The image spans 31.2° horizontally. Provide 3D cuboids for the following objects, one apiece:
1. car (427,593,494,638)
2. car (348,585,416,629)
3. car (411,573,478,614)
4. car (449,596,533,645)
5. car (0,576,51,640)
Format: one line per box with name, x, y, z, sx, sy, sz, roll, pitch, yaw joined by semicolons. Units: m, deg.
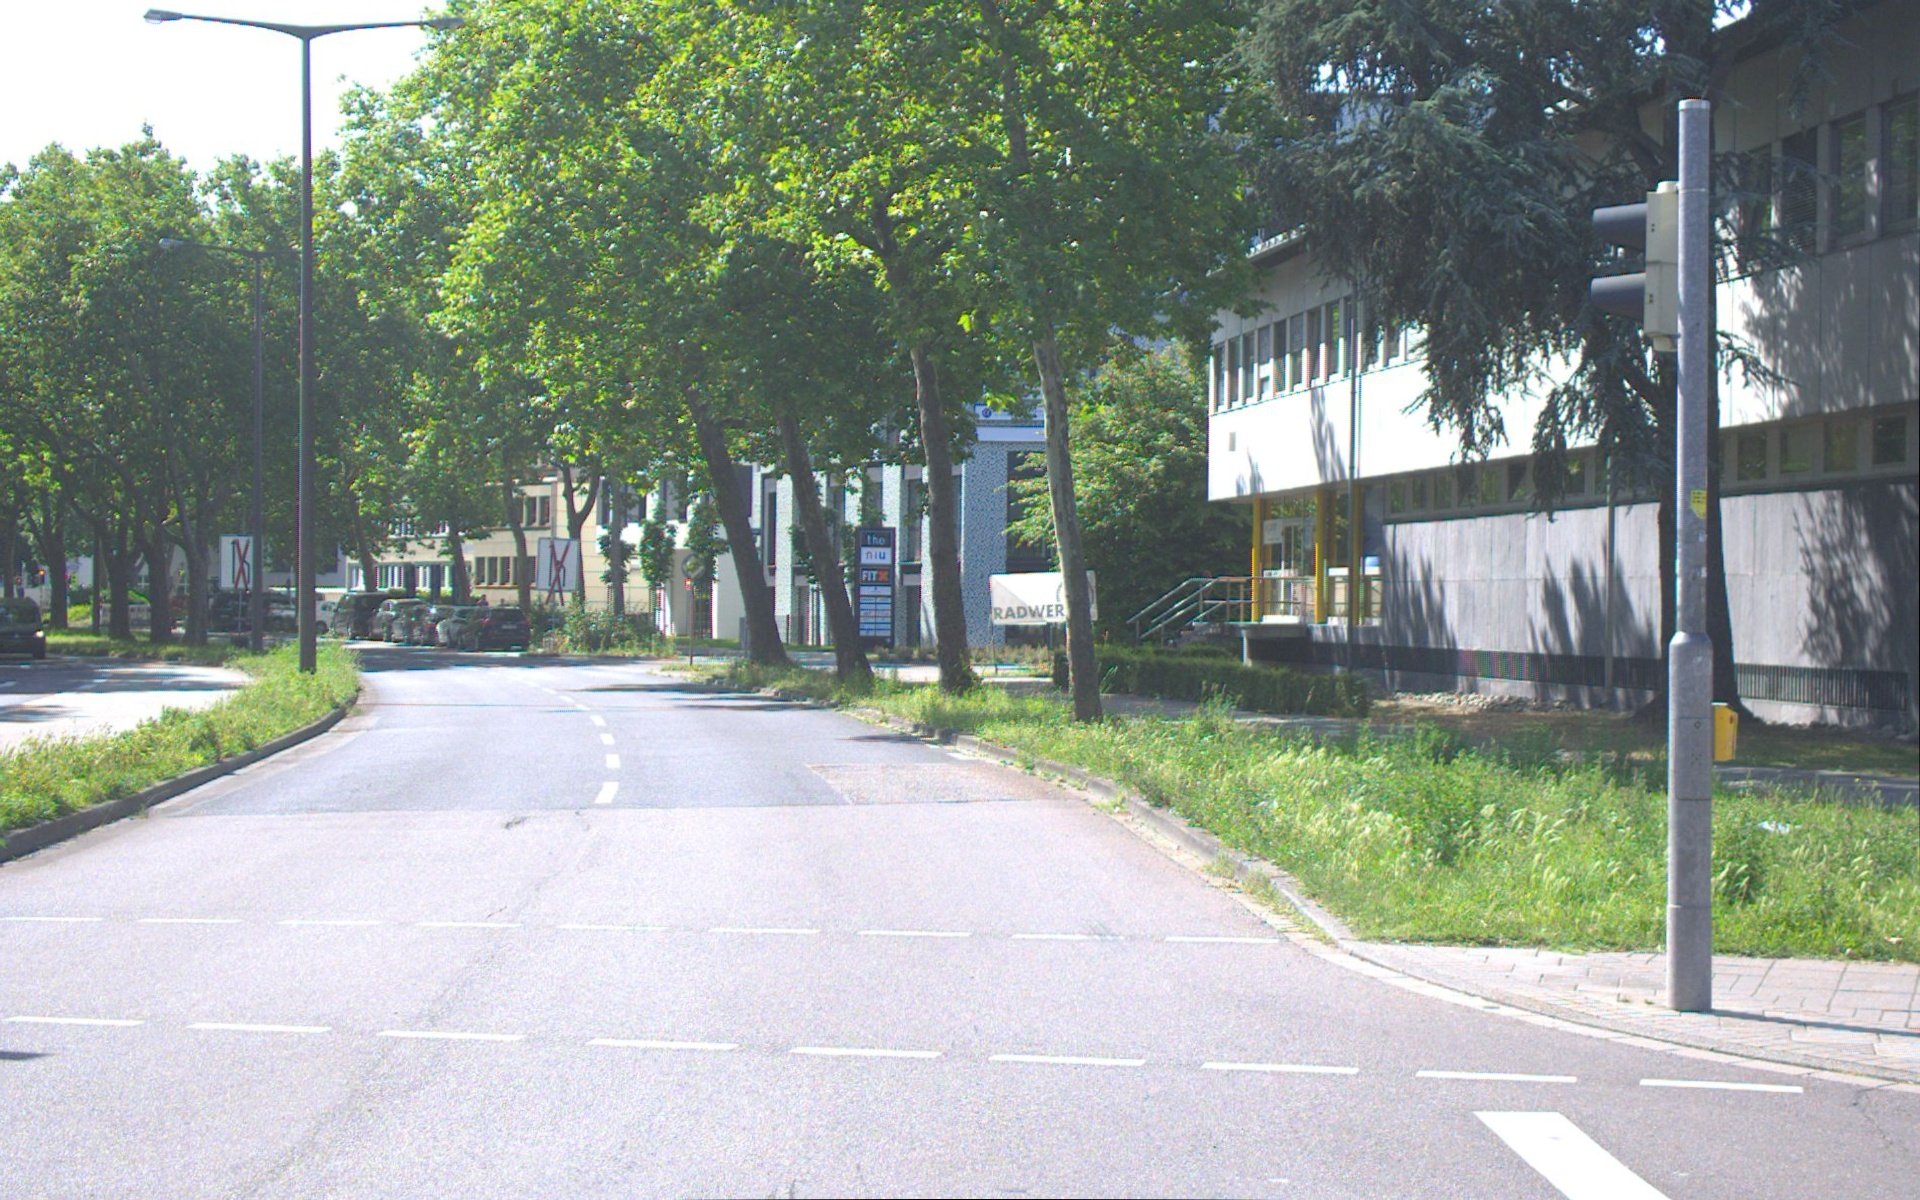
car;-17.393;0.518;119.522;1.706;1.482;4.102;0;1;-17
car;-22.963;0.263;136.484;1.706;1.664;4.535;0;1;-22
car;-18.748;-0.251;124.862;1.706;1.450;4.657;0;1;-17
car;-15.635;0.661;114.503;1.706;1.482;4.720;-1;1;-21
car;-28.111;0.222;102.957;1.685;1.832;4.996;-1;1;-15
